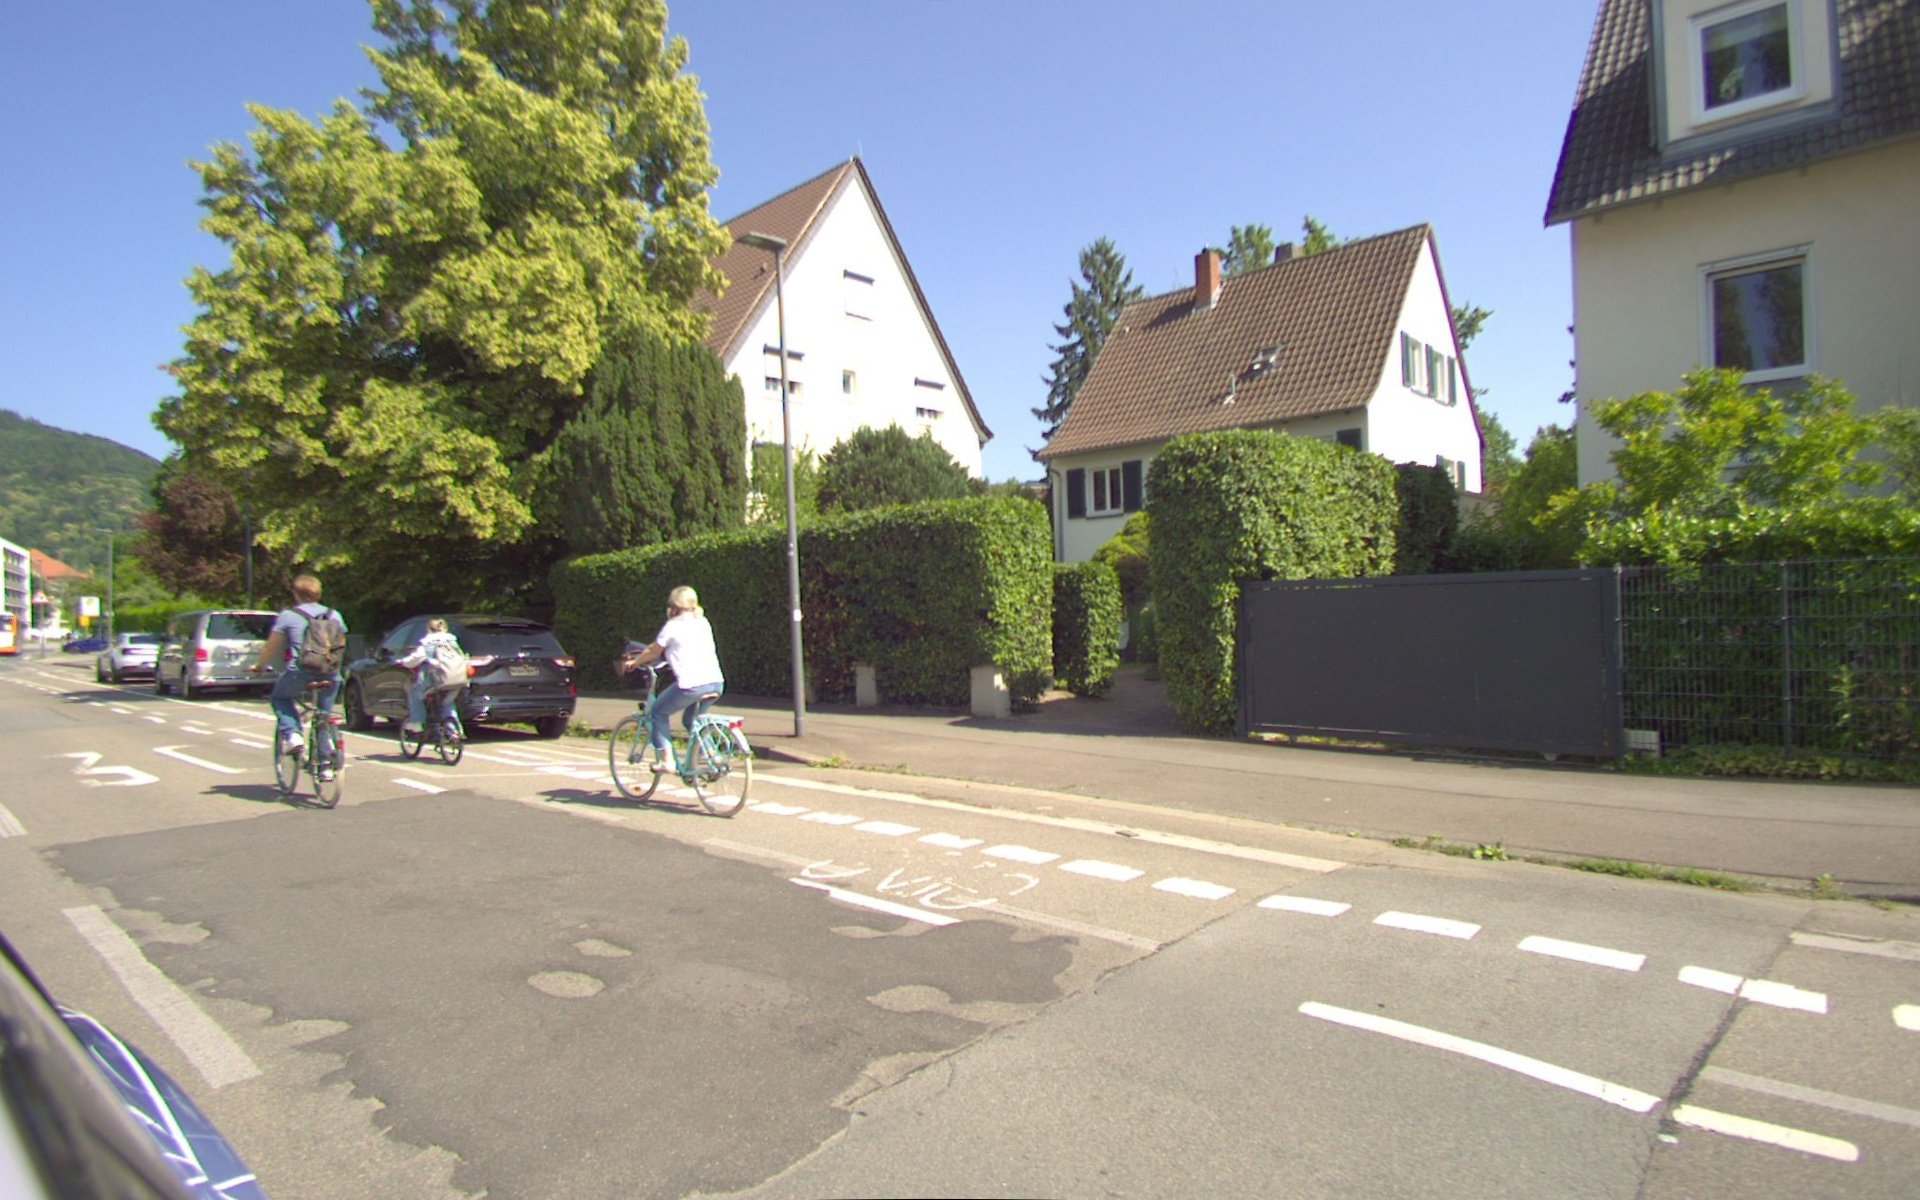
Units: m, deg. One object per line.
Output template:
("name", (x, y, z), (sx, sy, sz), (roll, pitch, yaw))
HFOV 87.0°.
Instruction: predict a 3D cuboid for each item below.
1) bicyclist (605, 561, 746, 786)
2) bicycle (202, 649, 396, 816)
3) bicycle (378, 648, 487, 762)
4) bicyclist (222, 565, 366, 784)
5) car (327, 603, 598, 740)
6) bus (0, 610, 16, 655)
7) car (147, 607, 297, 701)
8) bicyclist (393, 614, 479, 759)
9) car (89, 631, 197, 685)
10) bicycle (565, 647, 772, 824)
("bicyclist", (-2.175, 0.536, 7.734), (0.859, 1.592, 0.668), (-1, -3, 42))
("bicycle", (-5.628, 1.023, 8.542), (2.419, 1.175, 0.774), (-1, -2, 42))
("bicycle", (-5.644, 1.086, 10.808), (1.346, 1.113, 0.594), (-1, -2, 42))
("bicyclist", (-5.519, 0.587, 8.382), (1.021, 1.680, 0.741), (-1, -2, 42))
("car", (-7.074, 0.933, 14.189), (4.446, 1.623, 1.831), (-2, -4, 42))
("bus", (-72.136, 2.448, 75.205), (2.713, 3.198, 9.785), (2, -3, -44))
("car", (-17.019, 1.223, 23.250), (4.868, 1.934, 1.864), (-2, -4, 43))
("bicyclist", (-5.567, 0.886, 10.737), (0.964, 1.465, 0.485), (-1, -2, 42))
("car", (-24.378, 1.713, 30.134), (4.561, 1.497, 1.813), (-3, -4, 42))
("bicycle", (-2.298, 0.966, 7.812), (2.035, 1.194, 0.553), (-2, -3, 42))
